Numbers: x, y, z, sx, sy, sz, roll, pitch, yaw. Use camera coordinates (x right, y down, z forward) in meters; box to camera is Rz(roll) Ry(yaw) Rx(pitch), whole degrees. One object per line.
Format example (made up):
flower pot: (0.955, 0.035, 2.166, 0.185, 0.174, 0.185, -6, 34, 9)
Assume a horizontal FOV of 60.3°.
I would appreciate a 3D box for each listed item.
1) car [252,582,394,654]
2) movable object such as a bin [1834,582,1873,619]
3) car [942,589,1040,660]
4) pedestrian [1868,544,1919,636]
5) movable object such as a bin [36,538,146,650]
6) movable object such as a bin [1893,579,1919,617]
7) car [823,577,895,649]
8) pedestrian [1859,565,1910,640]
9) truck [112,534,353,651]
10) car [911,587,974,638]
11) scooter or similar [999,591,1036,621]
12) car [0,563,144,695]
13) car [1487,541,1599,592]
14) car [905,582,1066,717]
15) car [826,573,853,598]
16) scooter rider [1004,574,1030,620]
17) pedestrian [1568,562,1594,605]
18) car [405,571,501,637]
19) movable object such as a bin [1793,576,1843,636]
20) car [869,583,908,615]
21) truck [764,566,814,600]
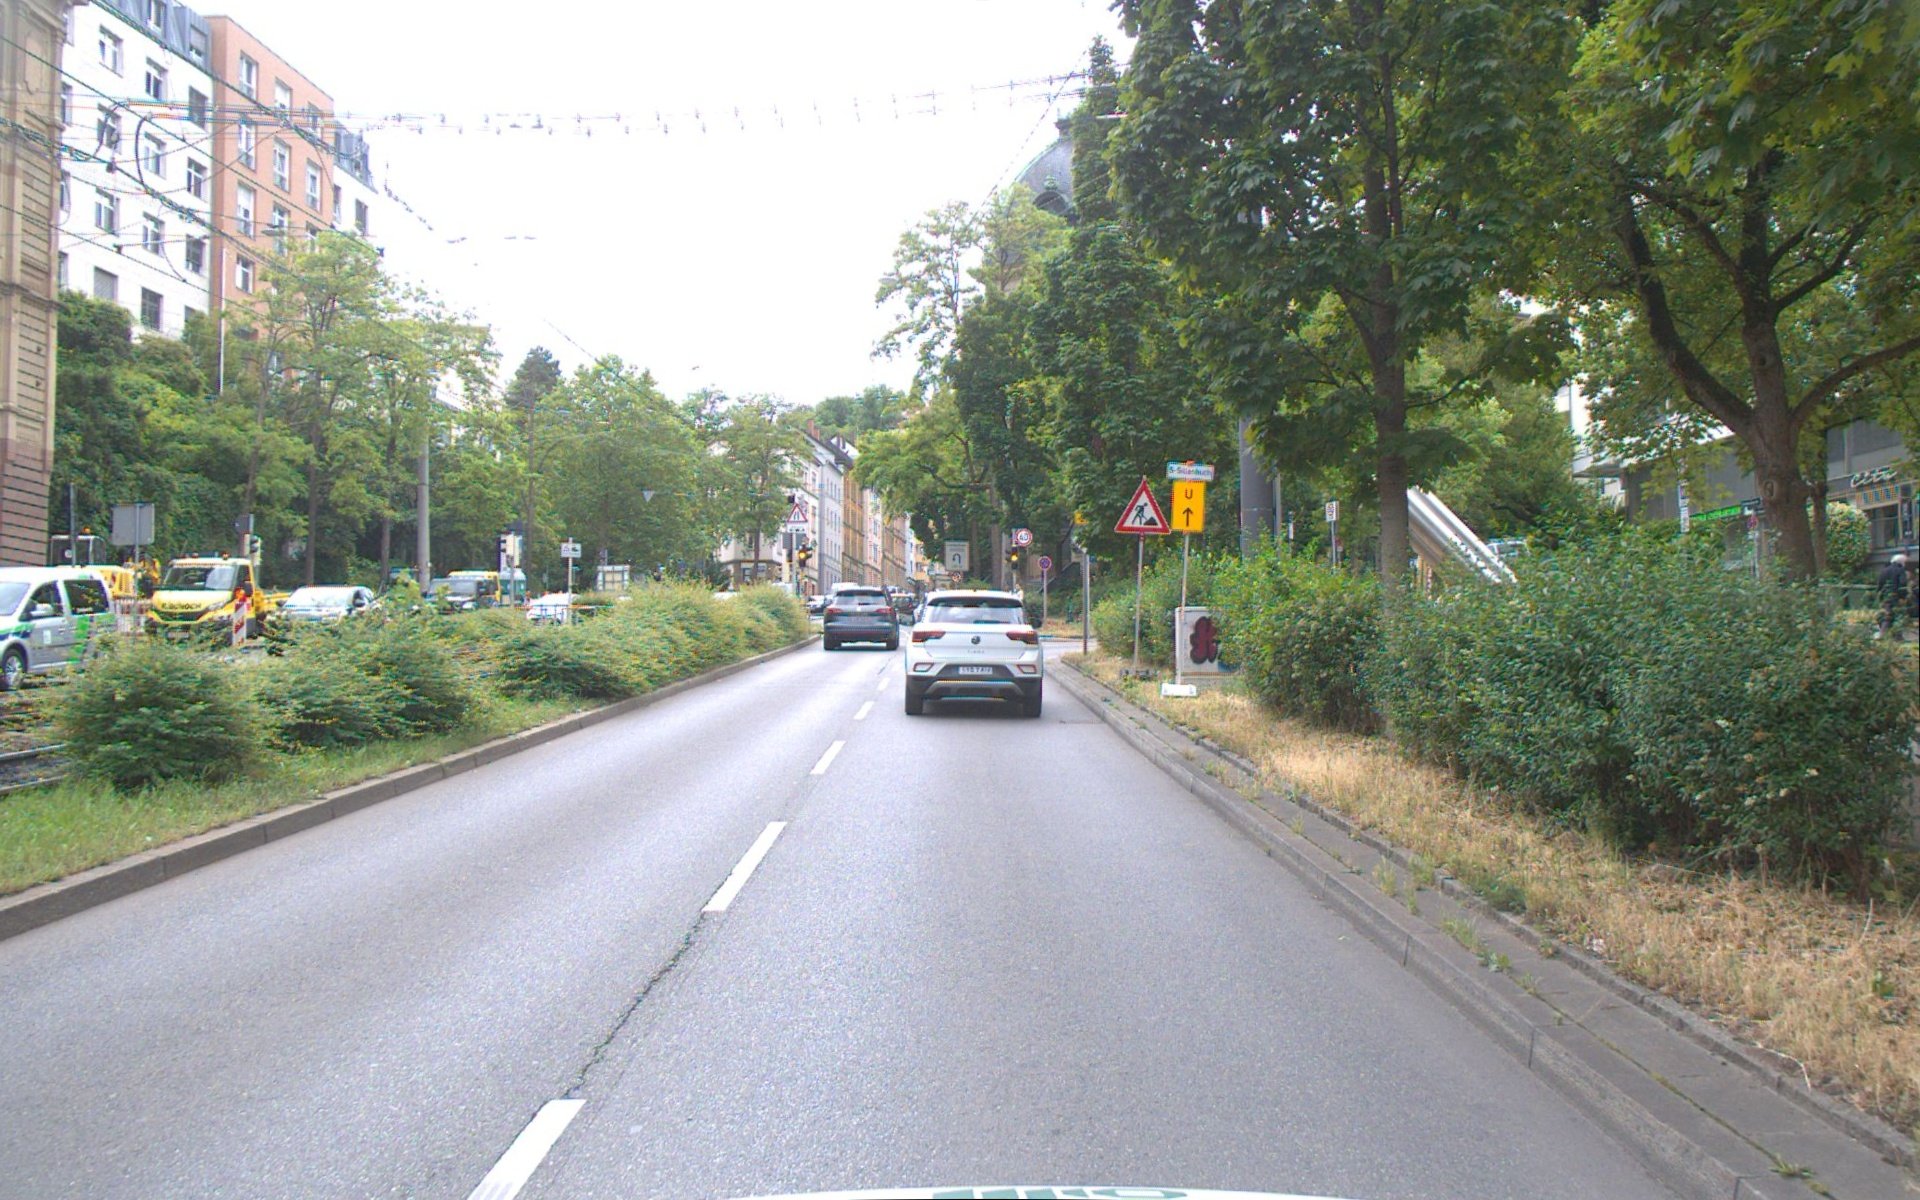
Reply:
car: (-14.976, 0.442, 39.151, 1.828, 1.582, 4.434, 1, -1, -3)
movable object such as a bin: (27.524, 0.003, 50.948, 0.811, 1.123, 0.709, -1, 0, -23)
car: (0.718, 0.645, 40.887, 1.867, 1.602, 3.827, 3, -2, -7)
pedestrian: (16.231, -0.177, 28.732, 0.538, 1.569, 0.619, -1, 0, -2)
movable object such as a bin: (-23.000, -0.157, 43.855, 1.955, 2.888, 2.027, 0, -1, -6)
movable object such as a bin: (28.594, -0.065, 49.642, 0.811, 1.123, 0.676, -1, 0, -23)
car: (-2.706, 0.394, 44.427, 1.803, 1.770, 3.996, 1, -2, -3)
pedestrian: (16.617, 0.041, 29.729, 0.538, 1.324, 0.619, -1, 0, -2)
truck: (-18.326, -0.056, 42.254, 2.858, 2.554, 7.152, 2, -2, 0)
car: (-0.661, 0.487, 60.050, 1.955, 1.652, 3.995, -1, -3, -5)
scooter or similar: (2.023, 0.209, 58.239, 1.167, 1.011, 0.529, -1, 0, -15)
car: (-14.236, 0.429, 24.745, 1.841, 1.819, 4.515, -2, 0, -1)
car: (24.882, -1.415, 70.675, 4.051, 2.049, 1.997, -1, 0, -7)
car: (0.242, 0.610, 22.056, 1.899, 1.594, 4.044, 1, 0, -2)
car: (-10.426, -1.246, 143.155, 1.953, 2.049, 4.000, -1, 0, 0)
scooter rider: (2.014, -0.115, 58.238, 0.765, 1.585, 0.530, -1, 0, -15)
pedestrian: (22.296, -0.578, 59.390, 0.551, 1.526, 0.672, -1, 0, -26)
car: (-15.755, 0.138, 51.648, 1.862, 1.909, 4.637, 2, -1, -5)
movable object such as a bin: (16.611, 0.124, 32.025, 0.655, 1.101, 0.609, 2, -3, 1)
car: (-5.265, -0.110, 123.022, 2.372, 2.207, 6.035, 3, 0, 1)
truck: (-12.126, -1.249, 117.542, 2.371, 2.207, 6.038, 2, 2, 5)
